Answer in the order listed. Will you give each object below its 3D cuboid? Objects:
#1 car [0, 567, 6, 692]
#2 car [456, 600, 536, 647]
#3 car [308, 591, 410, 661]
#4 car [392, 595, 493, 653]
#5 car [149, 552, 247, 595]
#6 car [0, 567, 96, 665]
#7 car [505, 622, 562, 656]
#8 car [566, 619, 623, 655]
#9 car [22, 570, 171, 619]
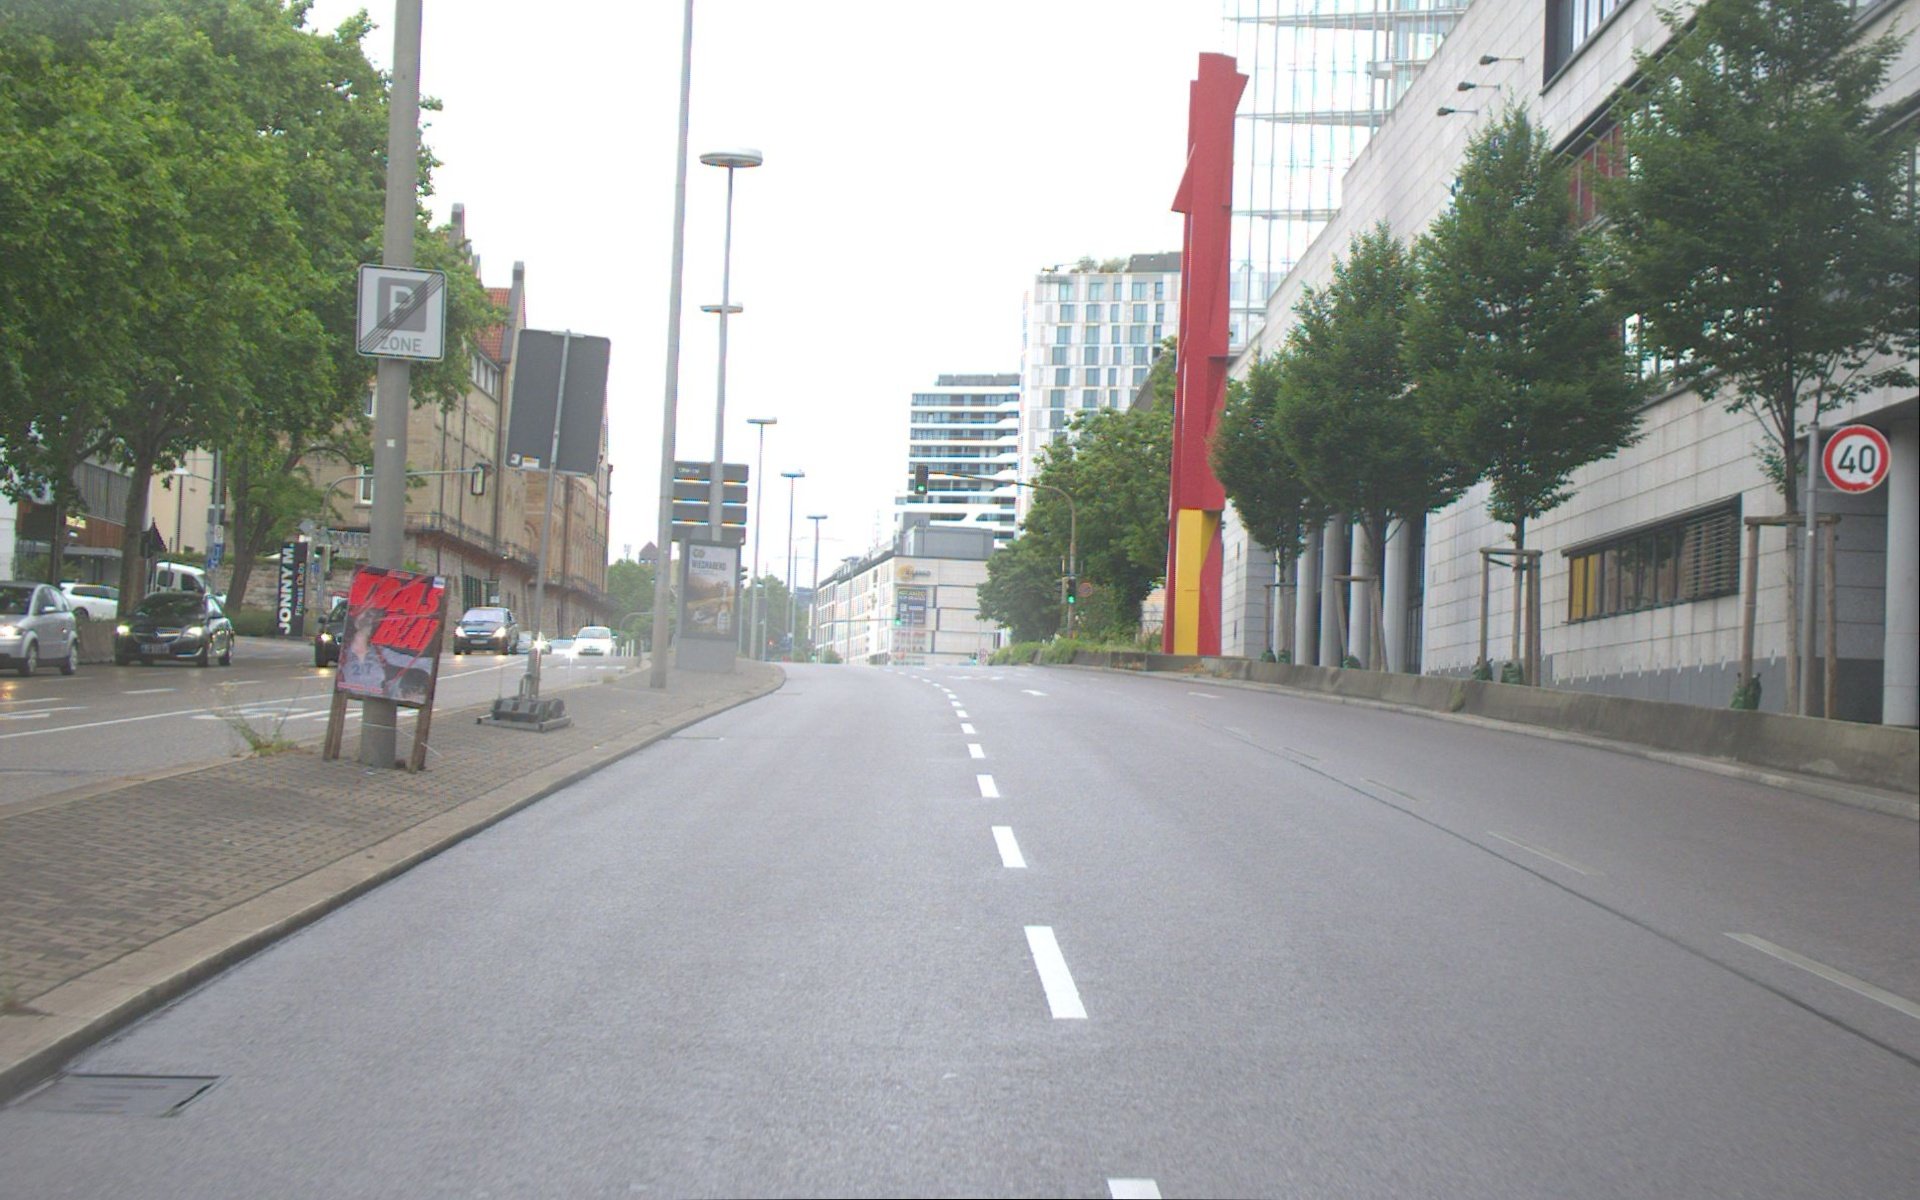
[{"bbox_3d":[-12.151,0.351,38.752,1.608,1.468,4.067,1,0,1],"label":"car"},{"bbox_3d":[-14.366,0.734,106.601,1.819,1.398,3.999,0,-1,2],"label":"car"},{"bbox_3d":[-12.440,0.526,71.320,1.686,1.405,4.000,1,0,-4],"label":"car"},{"bbox_3d":[-12.919,0.622,86.047,1.819,1.398,3.999,0,-1,2],"label":"car"},{"bbox_3d":[-30.951,-1.062,139.631,3.628,1.695,1.825,0,-1,-3],"label":"car"},{"bbox_3d":[-15.407,0.235,55.668,1.598,1.486,3.755,2,1,4],"label":"car"},{"bbox_3d":[-18.164,1.680,146.576,1.819,1.380,3.999,0,-1,2],"label":"car"},{"bbox_3d":[-15.204,1.553,143.257,1.819,1.464,3.999,0,-1,2],"label":"car"},{"bbox_3d":[-28.247,-0.170,112.565,1.823,1.506,4.567,-1,-2,38],"label":"car"}]
